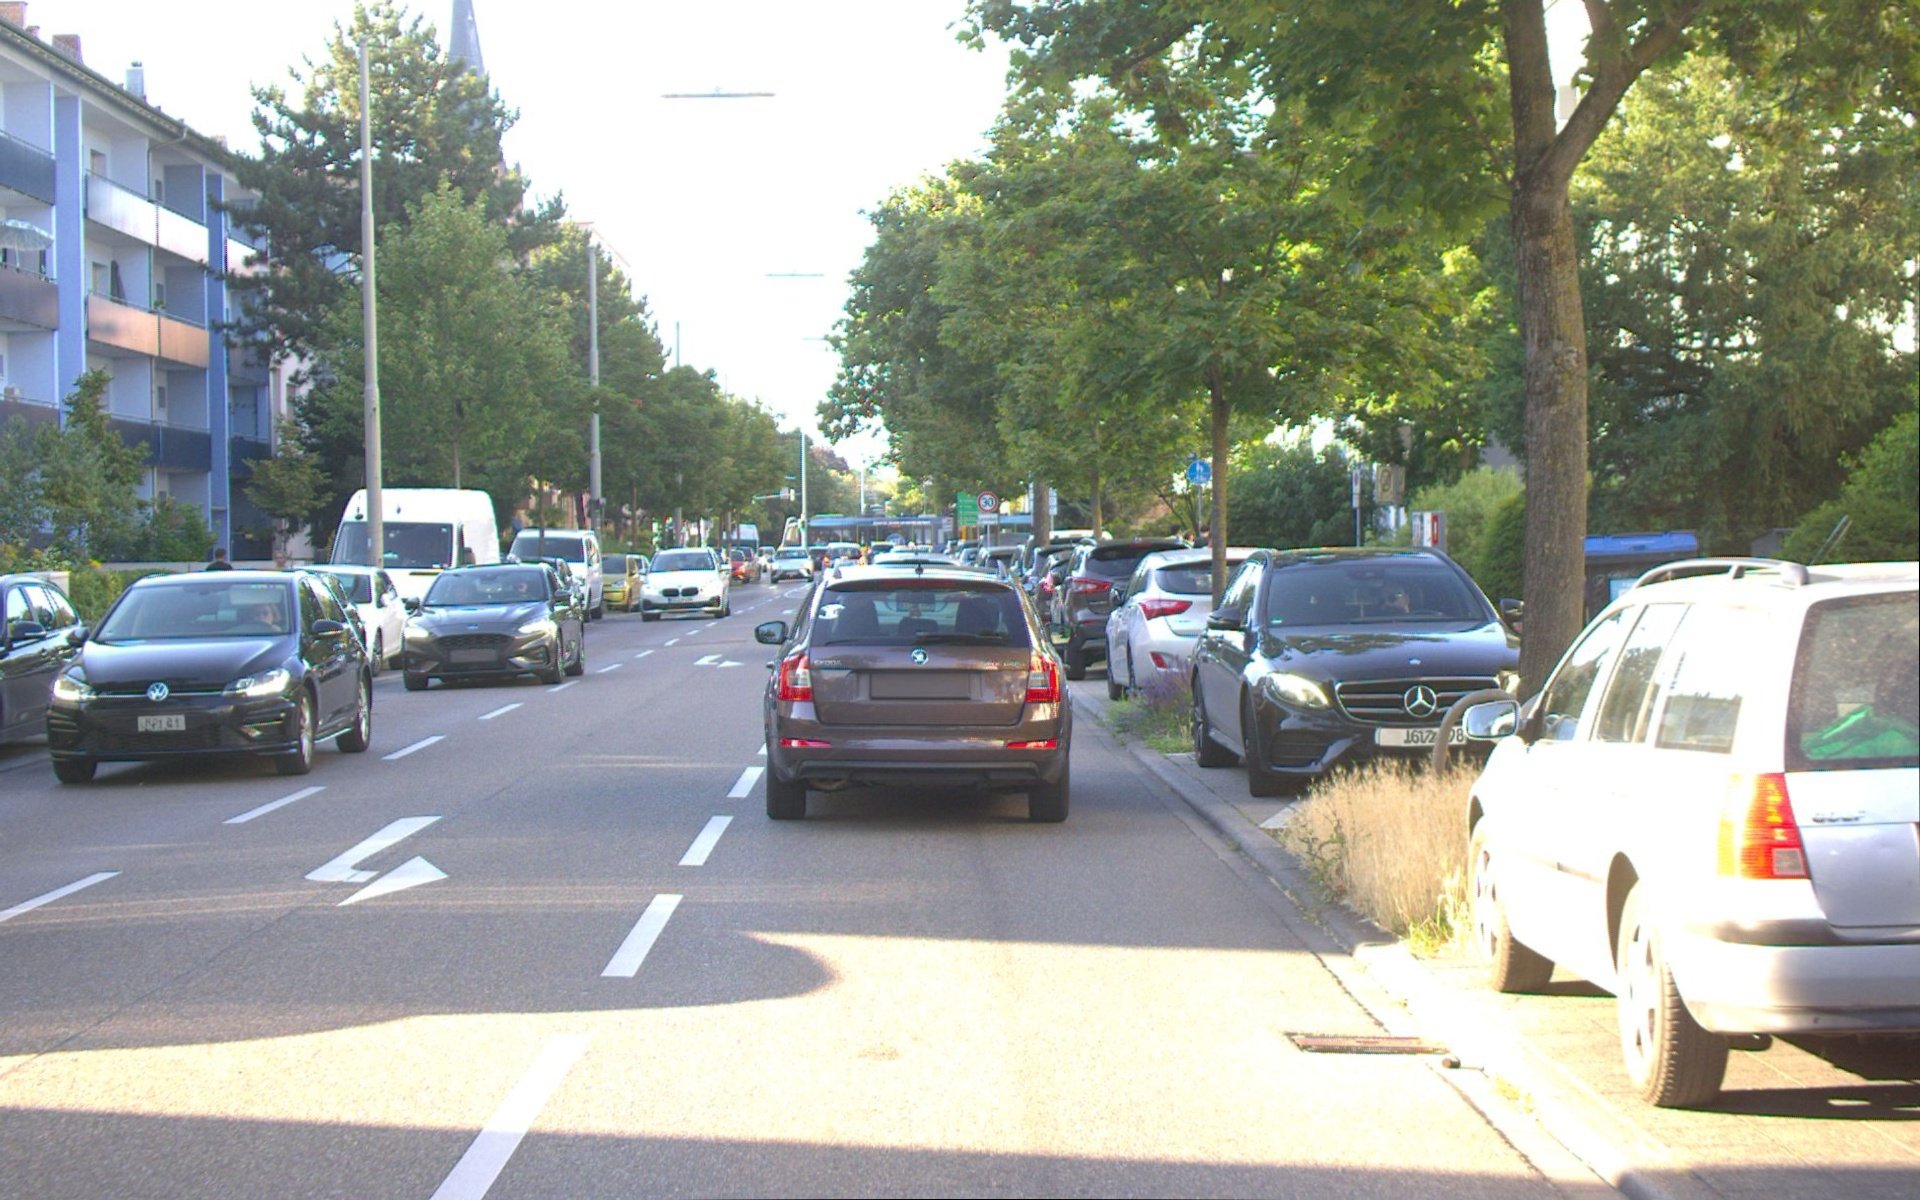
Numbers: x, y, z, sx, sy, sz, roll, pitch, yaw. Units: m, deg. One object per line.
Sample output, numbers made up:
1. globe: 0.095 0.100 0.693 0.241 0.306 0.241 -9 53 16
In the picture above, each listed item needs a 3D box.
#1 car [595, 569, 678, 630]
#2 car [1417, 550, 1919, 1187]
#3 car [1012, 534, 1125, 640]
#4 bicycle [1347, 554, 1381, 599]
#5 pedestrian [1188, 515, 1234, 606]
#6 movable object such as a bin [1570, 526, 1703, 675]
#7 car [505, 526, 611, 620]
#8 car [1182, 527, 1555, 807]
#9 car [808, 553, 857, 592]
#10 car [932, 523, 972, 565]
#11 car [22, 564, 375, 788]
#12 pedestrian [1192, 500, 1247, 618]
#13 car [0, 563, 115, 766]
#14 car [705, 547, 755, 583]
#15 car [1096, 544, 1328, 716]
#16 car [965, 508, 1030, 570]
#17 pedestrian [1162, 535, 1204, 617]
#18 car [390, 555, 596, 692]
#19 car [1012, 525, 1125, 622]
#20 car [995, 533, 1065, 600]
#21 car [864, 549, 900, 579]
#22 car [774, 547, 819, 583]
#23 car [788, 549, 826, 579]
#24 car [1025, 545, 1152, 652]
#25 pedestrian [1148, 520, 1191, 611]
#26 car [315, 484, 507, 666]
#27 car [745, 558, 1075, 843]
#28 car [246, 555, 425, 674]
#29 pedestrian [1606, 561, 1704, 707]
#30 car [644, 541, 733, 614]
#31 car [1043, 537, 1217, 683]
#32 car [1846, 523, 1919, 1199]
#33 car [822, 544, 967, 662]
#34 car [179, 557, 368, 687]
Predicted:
1. car: -8.159 -0.033 86.907 1.619 1.475 3.871 1 1 1
2. car: 2.580 0.617 10.526 1.636 1.485 4.416 -2 1 -1
3. car: 1.783 -0.241 57.553 1.754 1.657 4.252 -2 1 1
4. bicycle: 8.606 -0.510 73.247 0.475 0.941 1.680 -1 1 -1
5. pedestrian: 5.195 -0.827 71.132 0.799 1.854 0.950 -1 1 10
6. movable object such as a bin: 7.131 0.000 36.299 1.267 1.487 1.139 -3 1 9
7. car: -8.900 -0.624 76.376 1.868 2.024 5.301 0 1 -2
8. car: 2.551 0.355 22.557 1.874 1.575 4.820 -2 1 1
9. car: -4.997 -1.091 134.361 1.780 1.475 3.971 1 1 -4
10. car: -0.385 -2.506 153.984 1.754 1.799 4.000 1 1 0
11. car: -5.444 0.489 25.052 1.700 1.399 4.028 -3 1 -1
12. pedestrian: 3.758 -0.596 49.808 0.788 1.694 0.807 0 0 4
13. car: -8.108 0.473 27.208 1.778 1.499 4.589 0 1 -1
14. car: -9.912 -1.524 148.500 1.781 1.475 3.971 1 1 1
15. car: 2.328 0.230 32.697 1.718 1.489 4.394 -1 1 -2
16. car: 1.167 -1.869 106.078 1.916 1.854 5.633 -1 1 1
17. pedestrian: 4.740 -0.510 73.084 0.799 1.716 0.744 -1 1 8
18. car: -5.451 0.231 40.600 1.700 1.465 4.294 -2 1 2
19. car: 2.064 -0.540 66.737 1.800 1.802 4.424 1 1 -3
20. car: 1.805 -0.884 89.656 1.754 1.681 4.252 1 1 1
21. car: -4.232 -1.956 185.654 1.644 1.593 3.651 -1 1 -6
22. car: -7.088 -1.535 149.405 1.781 1.489 3.971 -1 1 0
23. car: -9.020 -2.127 202.349 1.993 1.744 4.001 -1 1 -6
24. car: 1.865 -0.053 50.851 1.613 1.461 3.959 -2 1 -1
25. pedestrian: 4.343 -0.718 71.276 0.748 1.854 1.068 -1 1 -2
26. car: -8.397 -0.427 53.224 1.993 2.607 7.106 1 1 -1
27. car: -0.244 0.515 20.480 1.754 1.487 4.000 1 1 1
28. car: -8.472 0.161 46.929 1.706 1.487 4.059 2 1 -1
29. pedestrian: 5.936 0.284 29.390 0.673 1.230 0.790 0 0 0
30. car: -5.936 -0.518 75.517 1.879 1.537 4.268 -1 1 -4
31. car: 1.935 0.075 40.199 1.718 1.595 4.096 -1 1 -1
32. car: 2.639 0.638 4.889 1.636 1.563 4.000 -2 1 -1
33. car: -0.935 0.044 48.430 1.892 1.501 3.790 3 0 -1
34. car: -8.382 0.240 42.253 1.612 1.468 3.813 1 1 -1
